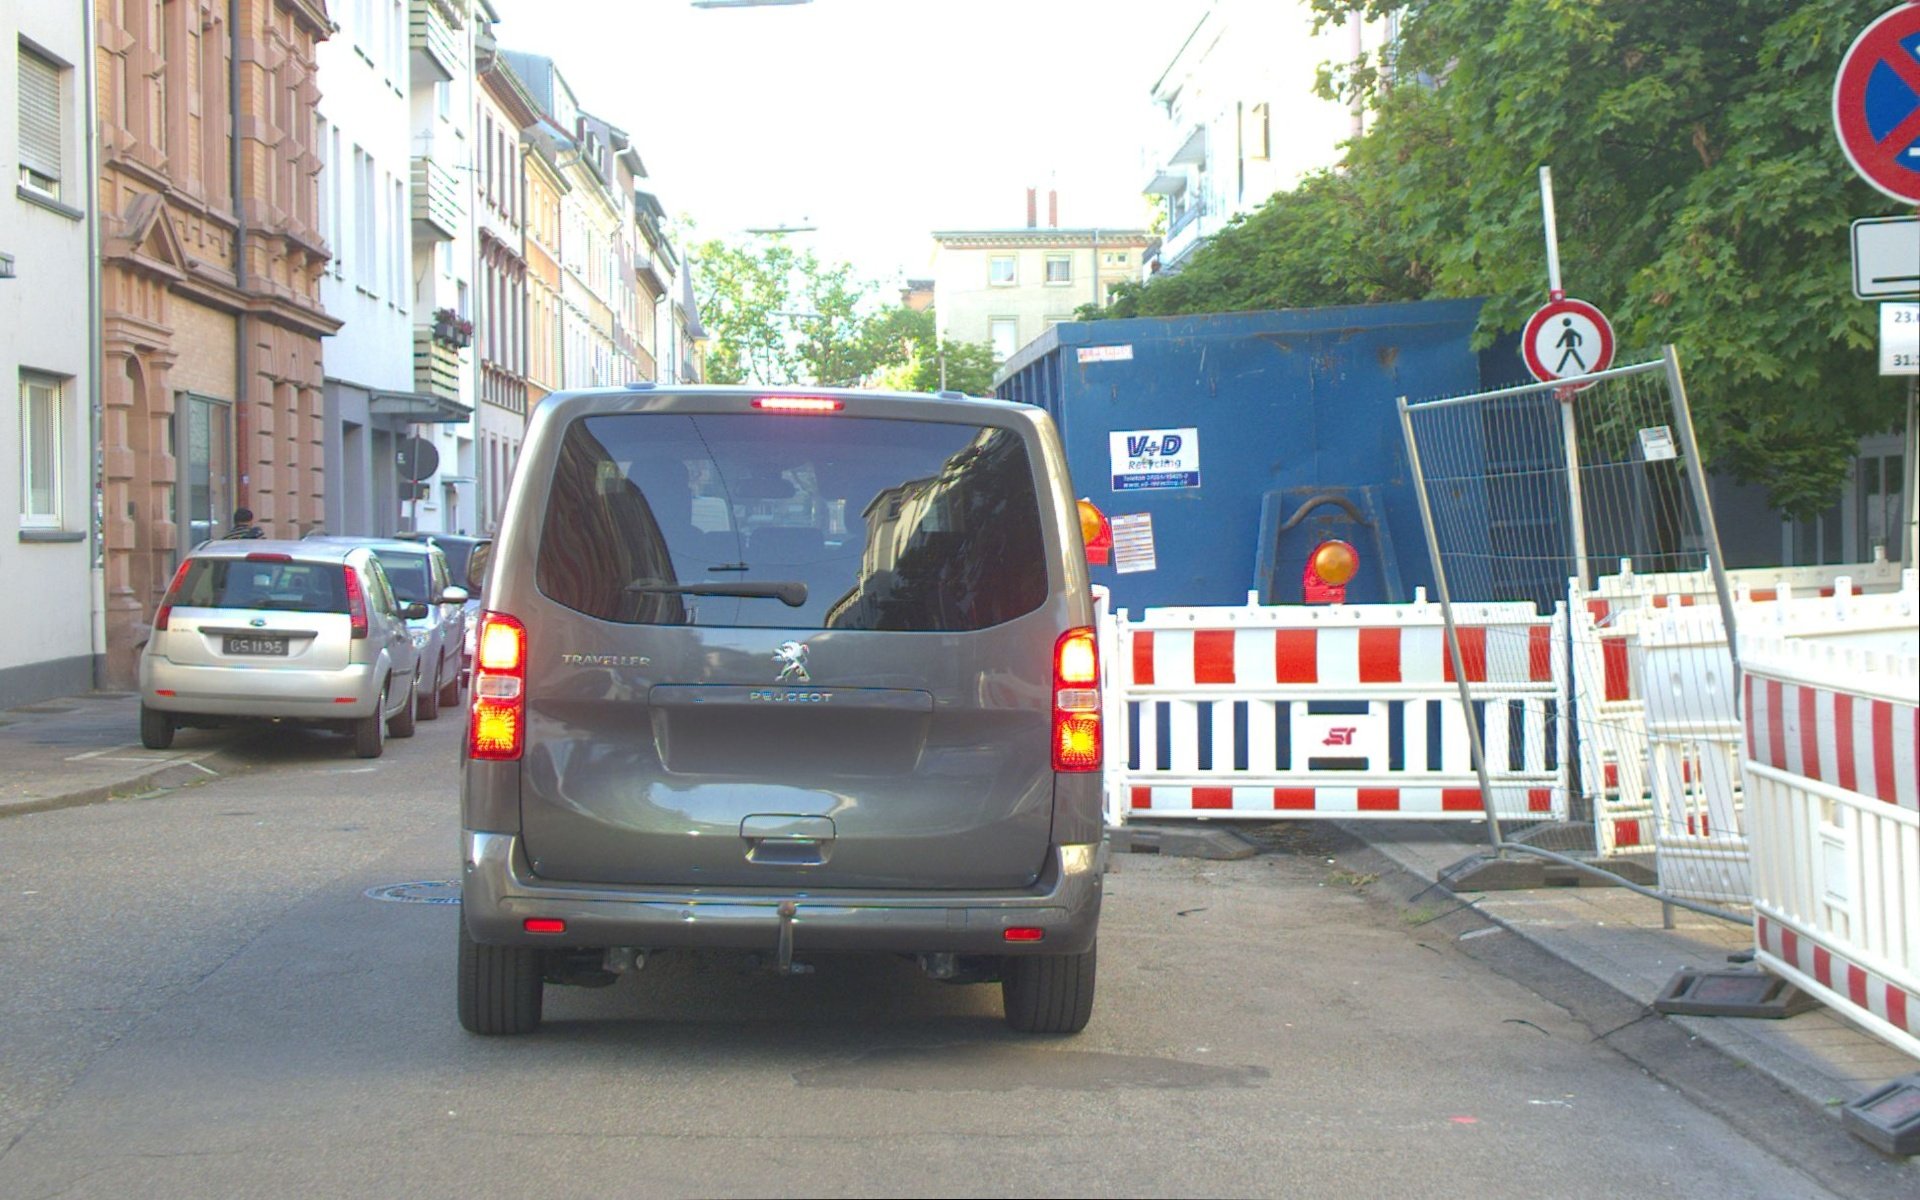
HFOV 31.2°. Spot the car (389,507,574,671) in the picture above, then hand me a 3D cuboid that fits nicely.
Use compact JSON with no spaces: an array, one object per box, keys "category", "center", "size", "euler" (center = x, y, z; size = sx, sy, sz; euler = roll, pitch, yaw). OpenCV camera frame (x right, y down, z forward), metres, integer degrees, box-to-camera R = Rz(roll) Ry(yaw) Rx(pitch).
[{"category":"car","center":[-5.594,-0.144,40.585],"size":[1.891,1.714,3.755],"euler":[4,0,-5]}]

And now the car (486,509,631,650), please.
[{"category":"car","center":[-5.784,-0.306,49.951],"size":[1.891,1.840,4.350],"euler":[4,0,-5]}]

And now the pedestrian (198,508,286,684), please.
[{"category":"pedestrian","center":[-6.873,-0.050,32.938],"size":[0.740,1.659,0.704],"euler":[-1,1,-6]}]

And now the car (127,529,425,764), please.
[{"category":"car","center":[-4.805,0.291,24.535],"size":[1.656,1.455,3.418],"euler":[4,0,-5]}]

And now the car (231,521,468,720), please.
[{"category":"car","center":[-5.239,0.152,29.851],"size":[1.656,1.520,3.418],"euler":[4,0,-5]}]

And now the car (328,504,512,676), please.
[{"category":"car","center":[-5.762,-0.121,36.943],"size":[1.666,1.660,3.092],"euler":[4,0,-5]}]

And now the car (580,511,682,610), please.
[{"category":"car","center":[-6.708,-0.808,70.116],"size":[1.891,1.840,4.350],"euler":[4,0,-5]}]

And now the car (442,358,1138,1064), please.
[{"category":"car","center":[-0.651,0.272,11.345],"size":[1.865,1.880,4.236],"euler":[0,1,-5]}]
